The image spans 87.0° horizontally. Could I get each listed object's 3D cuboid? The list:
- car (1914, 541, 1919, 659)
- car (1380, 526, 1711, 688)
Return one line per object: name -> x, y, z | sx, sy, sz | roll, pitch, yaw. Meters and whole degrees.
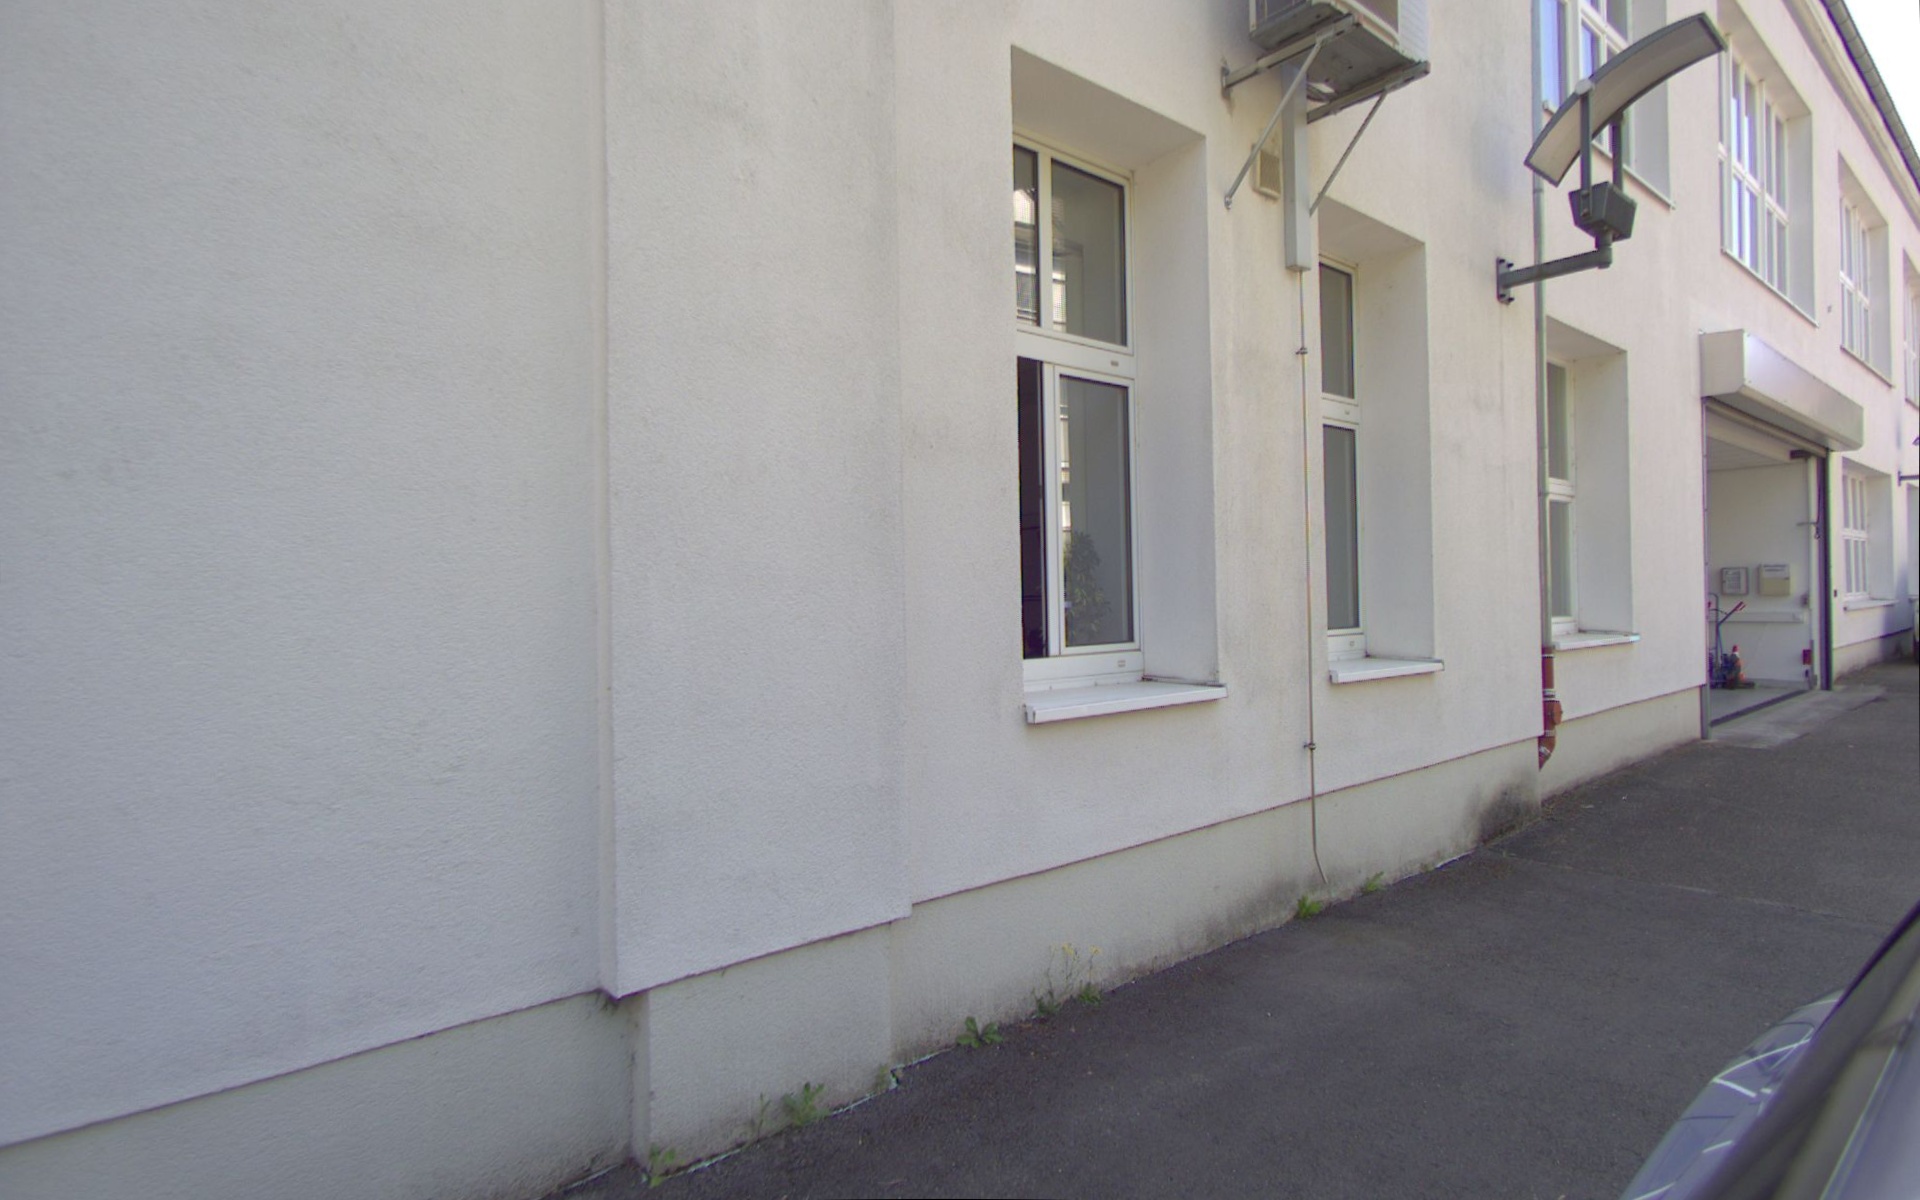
car -> 17.272, -0.077, 16.447 | 4.644, 1.825, 2.010 | -2, 1, -40
car -> 8.388, 0.066, 14.795 | 1.623, 2.039, 3.839 | -2, 1, -36
